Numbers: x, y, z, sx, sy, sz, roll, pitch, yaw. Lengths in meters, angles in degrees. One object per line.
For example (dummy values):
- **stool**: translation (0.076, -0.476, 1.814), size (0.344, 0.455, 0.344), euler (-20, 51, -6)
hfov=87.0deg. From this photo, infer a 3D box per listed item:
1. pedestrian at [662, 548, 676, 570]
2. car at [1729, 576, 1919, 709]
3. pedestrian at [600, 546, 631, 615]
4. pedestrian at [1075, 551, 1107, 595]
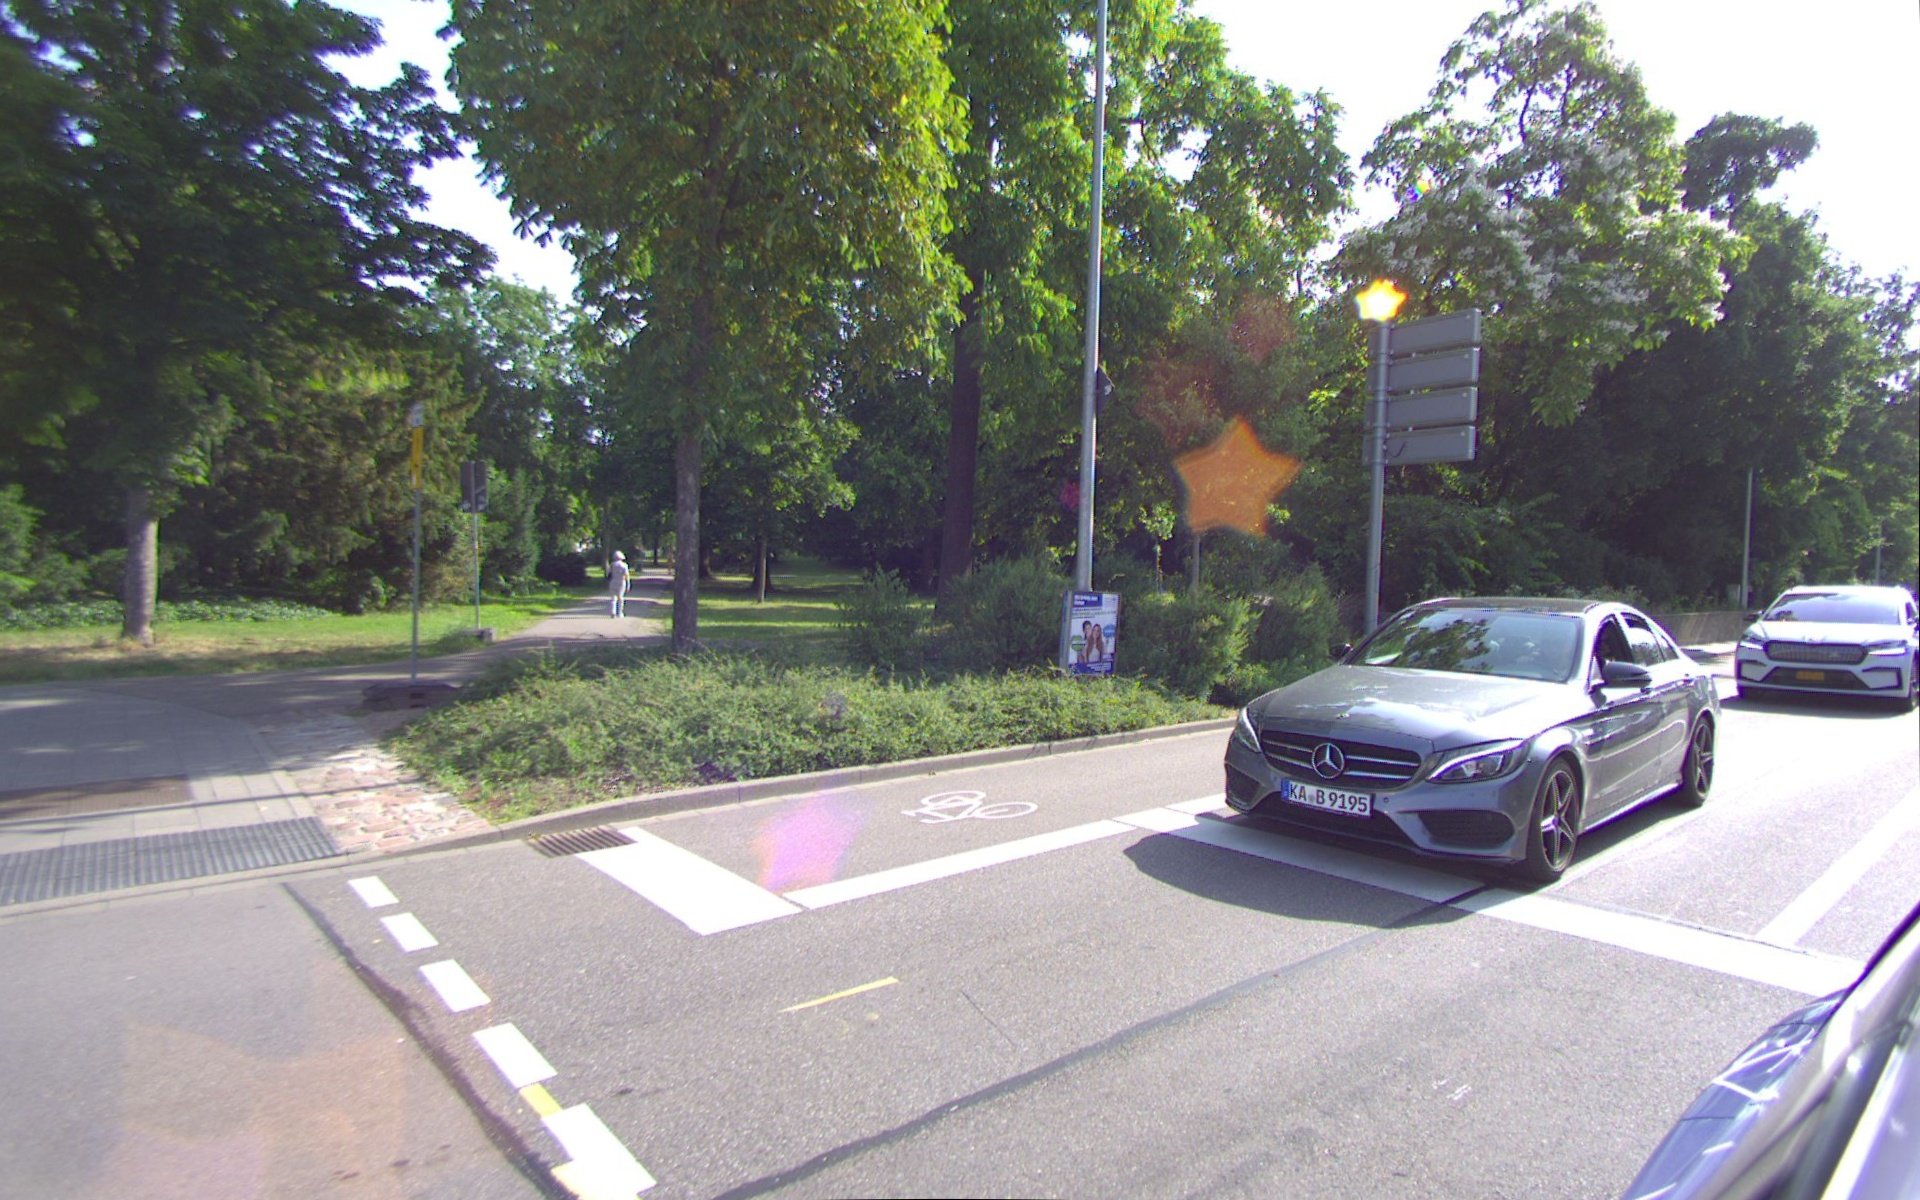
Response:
- **pedestrian**: translation (-19.832, -2.818, 68.876), size (0.749, 1.471, 0.558), euler (0, 2, -40)
- **car**: translation (12.619, 0.479, 14.317), size (4.175, 1.590, 1.896), euler (-1, 2, -40)
- **pedestrian**: translation (-7.861, -0.447, 23.106), size (0.523, 1.536, 0.671), euler (1, 2, -8)
- **pedestrian**: translation (5.692, -1.176, 44.047), size (1.048, 1.853, 0.987), euler (1, 2, -10)
